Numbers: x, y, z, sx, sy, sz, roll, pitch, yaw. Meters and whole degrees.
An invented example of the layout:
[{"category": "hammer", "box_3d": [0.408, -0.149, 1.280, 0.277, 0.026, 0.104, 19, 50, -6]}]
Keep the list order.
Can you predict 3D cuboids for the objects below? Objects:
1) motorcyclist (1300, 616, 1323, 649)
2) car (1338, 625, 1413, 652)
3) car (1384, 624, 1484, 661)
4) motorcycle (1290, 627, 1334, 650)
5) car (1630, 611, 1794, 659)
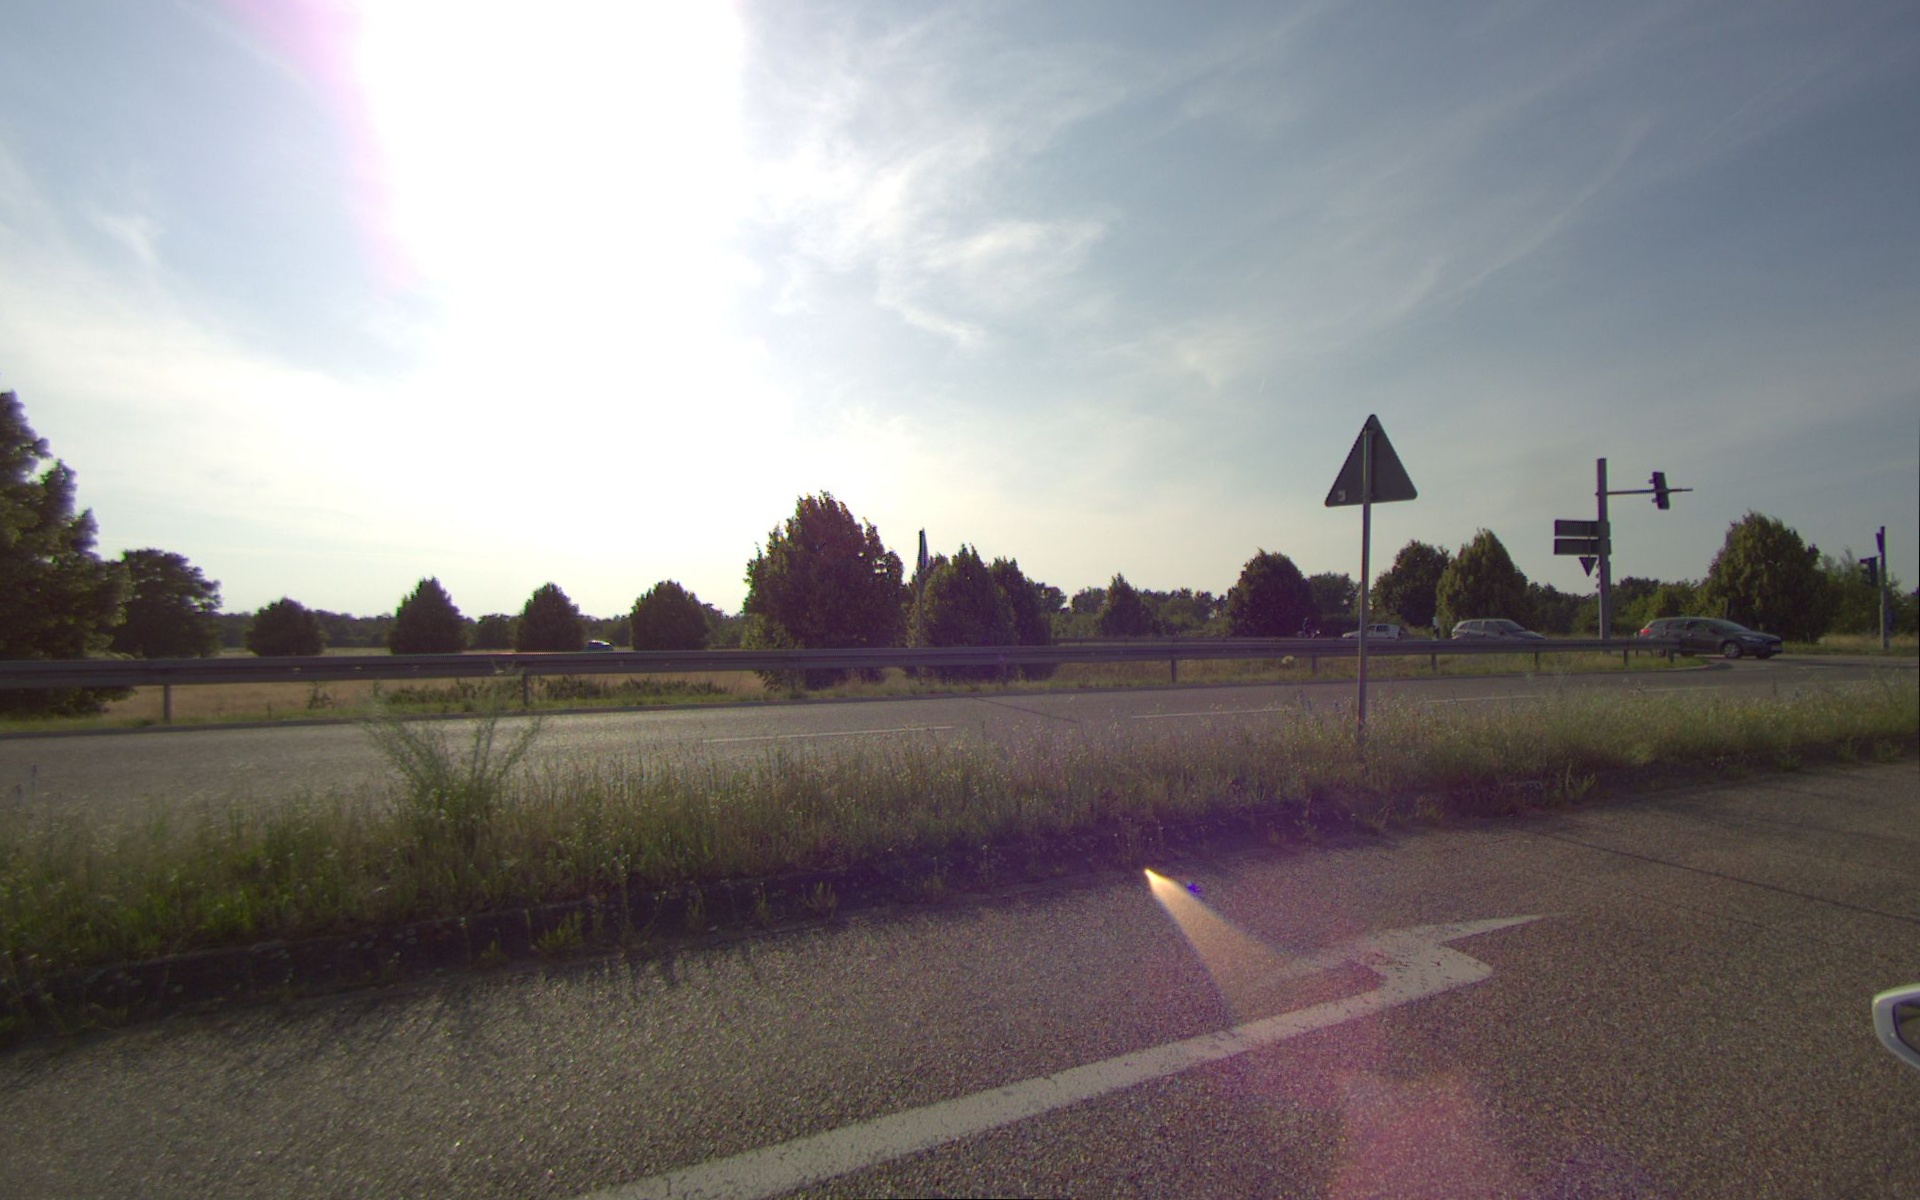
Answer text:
[{"category": "motorcyclist", "box_3d": [19.545, 1.809, 55.898, 0.898, 1.781, 0.823, 1, 0, -36]}, {"category": "car", "box_3d": [25.881, 2.393, 62.689, 1.978, 1.560, 3.964, 1, -1, -33]}, {"category": "car", "box_3d": [22.575, 2.000, 47.986, 1.766, 1.626, 4.170, 2, -1, -25]}, {"category": "motorcycle", "box_3d": [19.565, 2.129, 55.906, 0.931, 1.139, 2.149, 1, 0, -35]}, {"category": "car", "box_3d": [27.163, 1.212, 36.469, 1.790, 1.586, 4.505, 1, 0, -23]}]
